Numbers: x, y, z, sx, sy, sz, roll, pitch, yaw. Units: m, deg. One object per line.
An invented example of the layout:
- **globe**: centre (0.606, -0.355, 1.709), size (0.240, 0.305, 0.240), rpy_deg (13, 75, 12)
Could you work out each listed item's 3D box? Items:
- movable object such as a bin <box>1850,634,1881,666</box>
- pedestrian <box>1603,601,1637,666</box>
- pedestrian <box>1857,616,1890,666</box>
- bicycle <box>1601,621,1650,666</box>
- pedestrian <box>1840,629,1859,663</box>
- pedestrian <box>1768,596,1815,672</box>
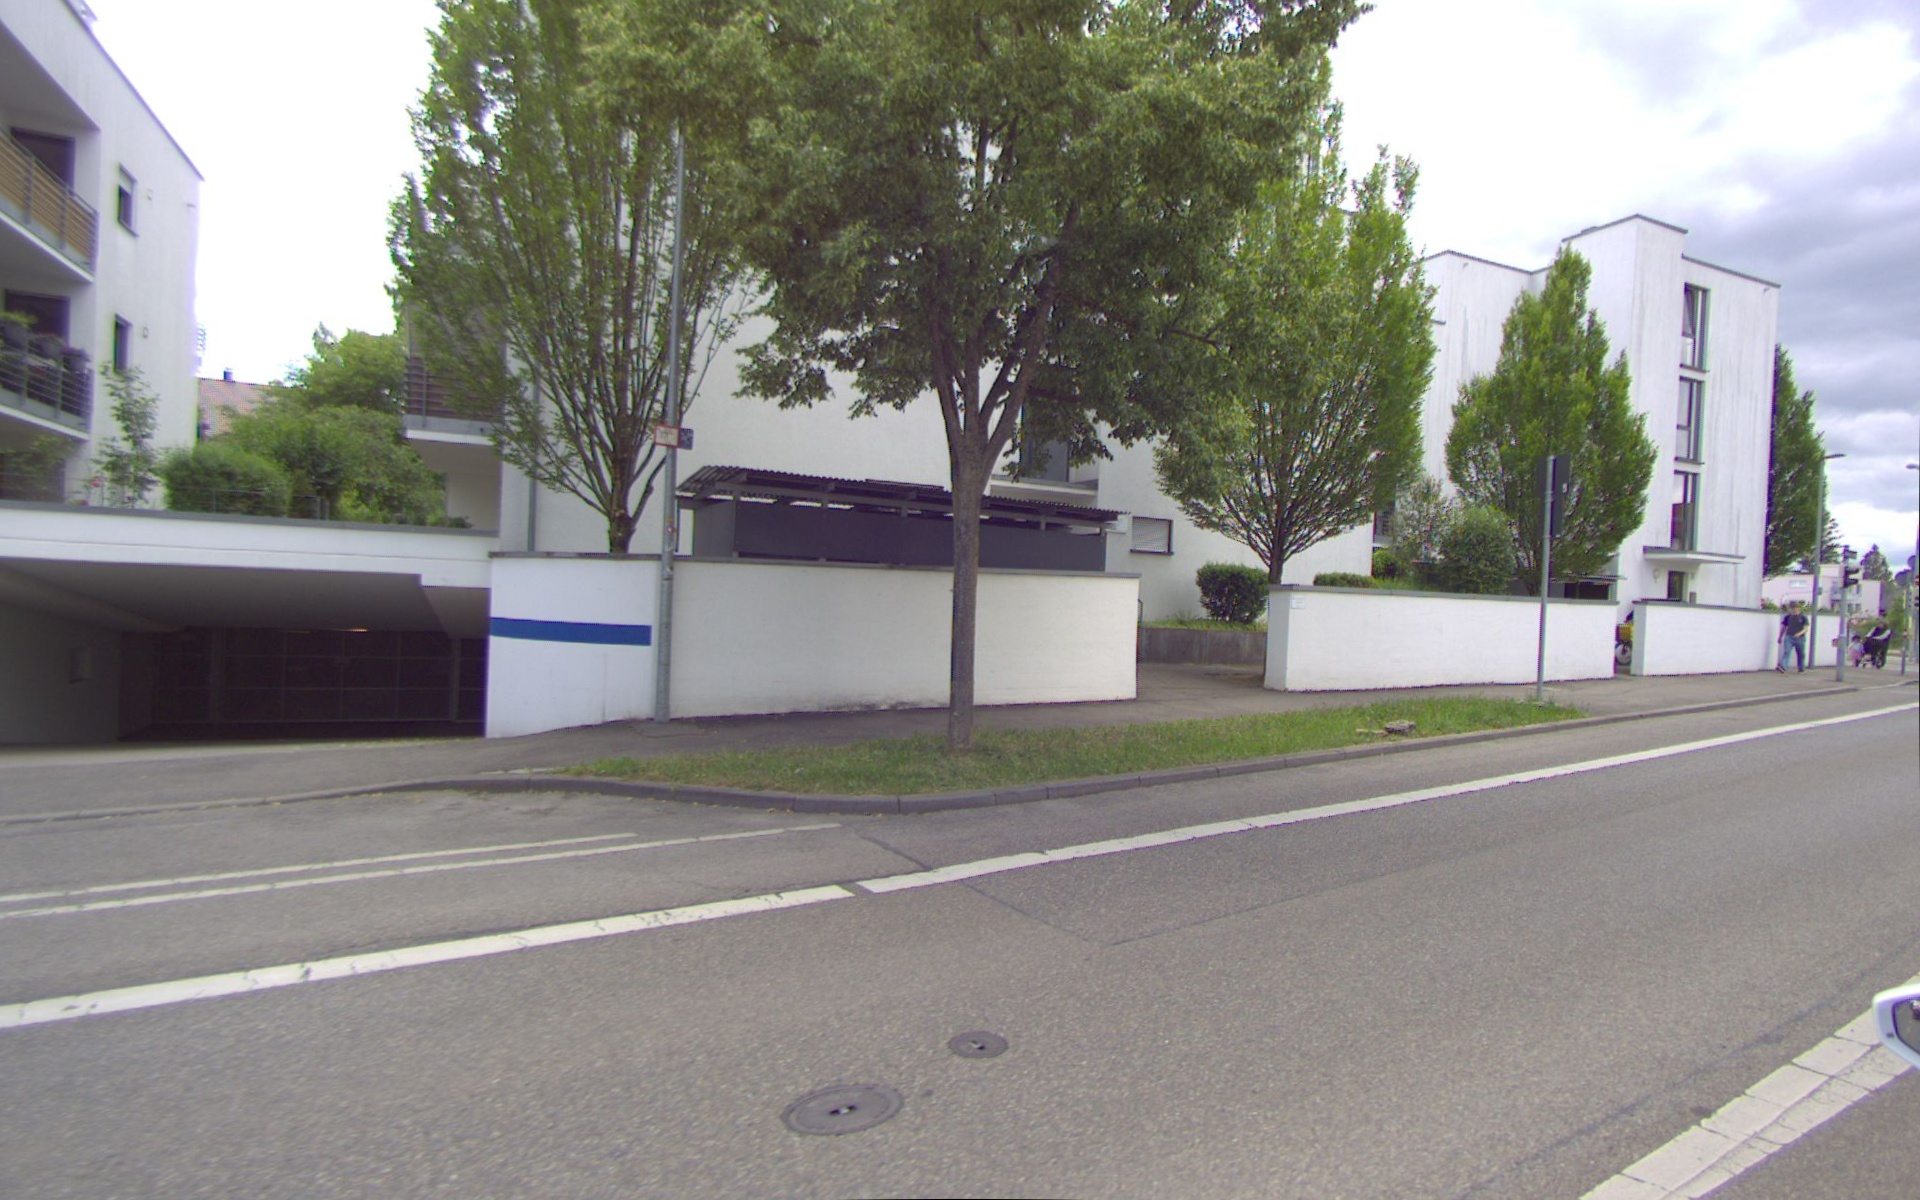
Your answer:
- **movable object such as a bin**: centre (29.335, 1.604, 32.532), size (0.977, 0.973, 0.493), rpy_deg (1, 5, -38)
- **pedestrian**: centre (17.665, 0.894, 26.900), size (0.597, 1.721, 0.524), rpy_deg (2, 0, -33)
- **pedestrian**: centre (29.998, 1.346, 32.992), size (0.725, 1.563, 0.527), rpy_deg (1, 5, -38)
- **bicycle**: centre (17.975, 1.165, 27.120), size (1.637, 1.179, 0.505), rpy_deg (1, -1, -34)
- **pedestrian**: centre (29.581, 1.526, 33.400), size (0.440, 1.076, 0.323), rpy_deg (1, 4, -37)
- **pedestrian**: centre (22.411, 0.907, 27.078), size (0.863, 1.974, 0.644), rpy_deg (2, 3, -35)
